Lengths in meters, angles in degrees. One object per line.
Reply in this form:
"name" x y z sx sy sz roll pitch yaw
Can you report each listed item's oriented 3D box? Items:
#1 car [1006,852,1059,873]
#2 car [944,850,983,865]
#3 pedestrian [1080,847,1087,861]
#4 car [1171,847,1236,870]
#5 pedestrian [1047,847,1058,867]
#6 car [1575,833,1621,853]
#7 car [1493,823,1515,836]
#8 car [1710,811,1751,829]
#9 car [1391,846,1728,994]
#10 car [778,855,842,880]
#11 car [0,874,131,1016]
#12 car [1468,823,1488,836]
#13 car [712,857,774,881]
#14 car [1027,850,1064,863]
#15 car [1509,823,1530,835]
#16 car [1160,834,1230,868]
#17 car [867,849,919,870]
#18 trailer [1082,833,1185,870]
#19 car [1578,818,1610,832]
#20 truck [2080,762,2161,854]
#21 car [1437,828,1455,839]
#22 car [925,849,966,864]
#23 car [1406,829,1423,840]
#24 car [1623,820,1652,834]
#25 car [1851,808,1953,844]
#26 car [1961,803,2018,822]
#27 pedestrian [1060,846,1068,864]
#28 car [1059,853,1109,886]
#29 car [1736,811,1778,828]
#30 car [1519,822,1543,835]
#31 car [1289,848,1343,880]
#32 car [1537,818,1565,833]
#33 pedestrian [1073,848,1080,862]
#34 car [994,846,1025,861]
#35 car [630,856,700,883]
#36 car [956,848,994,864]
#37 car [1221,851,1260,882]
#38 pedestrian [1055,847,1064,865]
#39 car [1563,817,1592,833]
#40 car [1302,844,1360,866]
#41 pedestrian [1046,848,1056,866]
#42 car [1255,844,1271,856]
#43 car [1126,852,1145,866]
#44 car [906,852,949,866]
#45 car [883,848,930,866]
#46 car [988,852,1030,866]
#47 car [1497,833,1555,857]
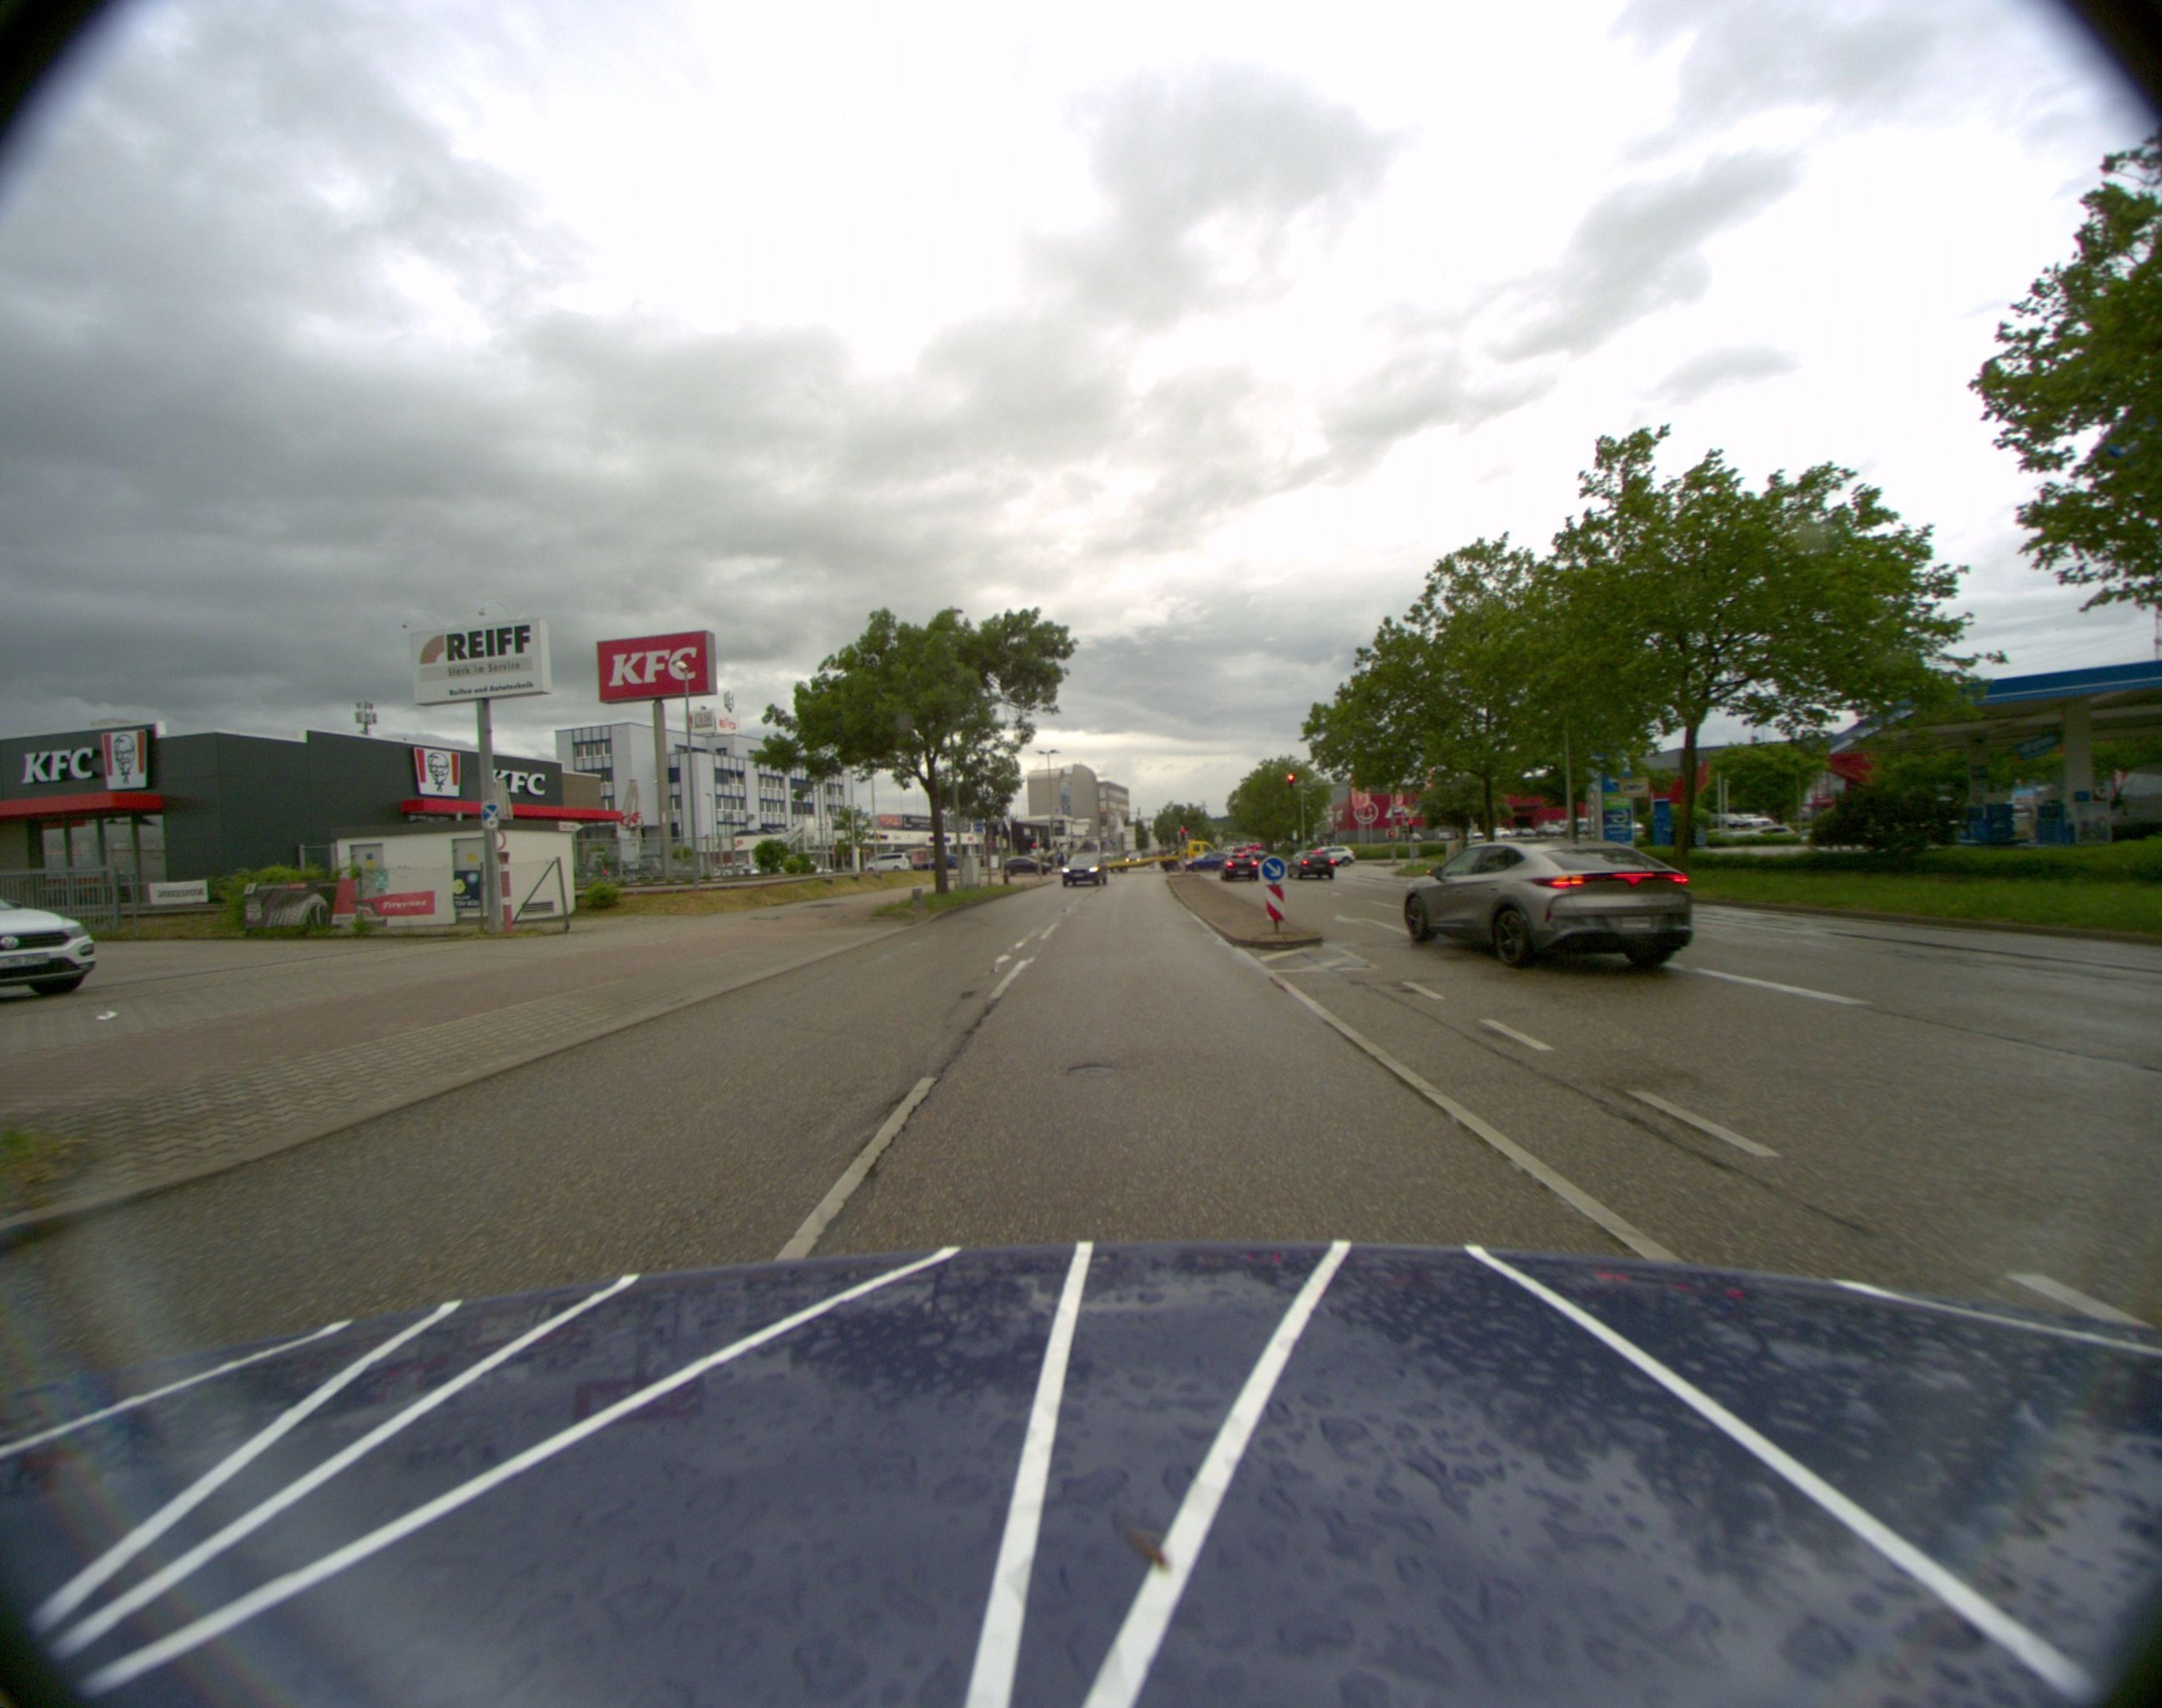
"car" -3.943 0.664 61.964 3.995 1.532 1.815 -2 2 7
"car" -14.725 0.382 95.535 4.367 1.754 1.899 -1 0 15
"pedestrian" 0.283 0.003 94.627 0.713 1.701 0.698 -1 0 16
"car" 9.307 0.339 57.813 4.553 1.623 1.799 -1 0 -13
"pedestrian" -2.917 0.265 77.288 0.817 2.002 0.695 -1 1 -28
"car" 44.060 -0.924 64.875 1.683 1.544 3.662 -1 0 5
"car" 58.354 -3.425 104.874 1.670 1.636 3.966 -1 0 13
"car" 68.035 -3.525 79.659 1.670 1.636 3.830 -1 0 13
"car" 6.111 0.690 10.520 1.816 1.553 4.598 -2 1 1
"car" -20.731 1.053 58.153 4.242 1.772 1.801 -1 -2 11
"car" -14.058 1.089 8.798 4.182 1.543 1.891 -2 0 8
"car" 61.968 -3.811 118.733 1.789 1.914 3.753 -1 0 12
"car" -26.209 1.179 58.967 3.993 1.698 1.825 -1 0 11
"car" -4.339 0.287 92.646 4.119 1.385 1.901 -1 0 15
"car" 67.874 -3.817 117.645 1.694 1.636 3.966 -1 0 13
"car" 9.365 -0.255 62.587 5.017 2.459 2.244 -4 -1 -15
"car" -19.220 0.552 77.762 4.778 2.002 2.002 -1 0 16
"trailer" 4.215 -0.166 61.725 7.970 2.459 2.310 -4 -1 -8
"car" 56.675 -3.181 84.044 1.670 1.373 3.913 -1 0 13
"truck" 32.902 -1.346 22.403 2.149 2.659 7.889 -1 0 37
"car" 57.754 -3.167 120.312 1.694 1.636 3.966 -1 0 13
"car" -16.202 0.300 90.728 4.367 1.754 1.899 -1 0 15
"car" 51.272 -2.953 117.019 1.694 1.636 3.966 -1 0 13
"car" 72.931 -3.550 99.673 1.670 1.636 3.966 -1 0 13
"car" 44.013 -1.502 40.775 3.699 1.787 1.813 -2 1 -5
"car" 89.625 -4.038 75.024 1.670 1.636 3.830 -1 0 13
"pedestrian" -1.851 0.116 82.679 0.740 2.002 0.698 -1 0 12
"car" 0.242 0.749 39.696 1.899 1.544 4.595 -1 0 9
"car" 70.819 -3.599 79.708 1.670 1.636 3.830 -1 0 13
"car" 61.122 -3.478 103.238 1.670 1.636 3.966 -1 0 13
"car" 12.161 0.484 39.589 1.997 1.499 4.733 -1 0 8
"car" 54.472 -3.265 88.131 1.670 1.636 3.830 -1 0 13
"pedestrian" -0.543 0.099 91.993 0.700 1.701 0.698 -1 0 16
"car" -10.305 -0.038 109.566 3.992 2.002 1.913 -1 0 18
"car" -29.062 1.053 53.200 1.890 1.730 4.505 -1 0 9
"car" -13.603 0.275 97.913 4.367 1.895 1.899 -1 1 15
"car" 8.250 0.604 39.526 1.646 1.499 3.896 -1 0 8
"pedestrian" -2.257 0.241 80.462 0.814 1.846 0.698 0 3 15
"car" 57.483 -3.342 88.063 1.629 1.636 3.830 -1 0 13
"car" 19.868 0.084 60.506 3.998 1.544 1.900 -2 2 -4
"pedestrian" -3.105 0.307 79.235 0.817 1.765 0.695 -1 2 -28
"car" 22.278 -0.479 93.124 1.785 1.396 4.004 -1 0 12
"car" 6.013 0.497 84.014 1.753 1.455 4.002 2 1 9
"car" -17.262 0.573 85.462 4.367 1.385 1.825 -1 0 15
"car" -18.573 0.306 80.924 4.367 1.809 1.899 -1 0 15
"car" -7.787 0.510 82.172 4.118 1.385 1.826 -1 0 18
"car" 34.493 -0.684 58.949 3.534 1.687 1.603 -3 1 10
